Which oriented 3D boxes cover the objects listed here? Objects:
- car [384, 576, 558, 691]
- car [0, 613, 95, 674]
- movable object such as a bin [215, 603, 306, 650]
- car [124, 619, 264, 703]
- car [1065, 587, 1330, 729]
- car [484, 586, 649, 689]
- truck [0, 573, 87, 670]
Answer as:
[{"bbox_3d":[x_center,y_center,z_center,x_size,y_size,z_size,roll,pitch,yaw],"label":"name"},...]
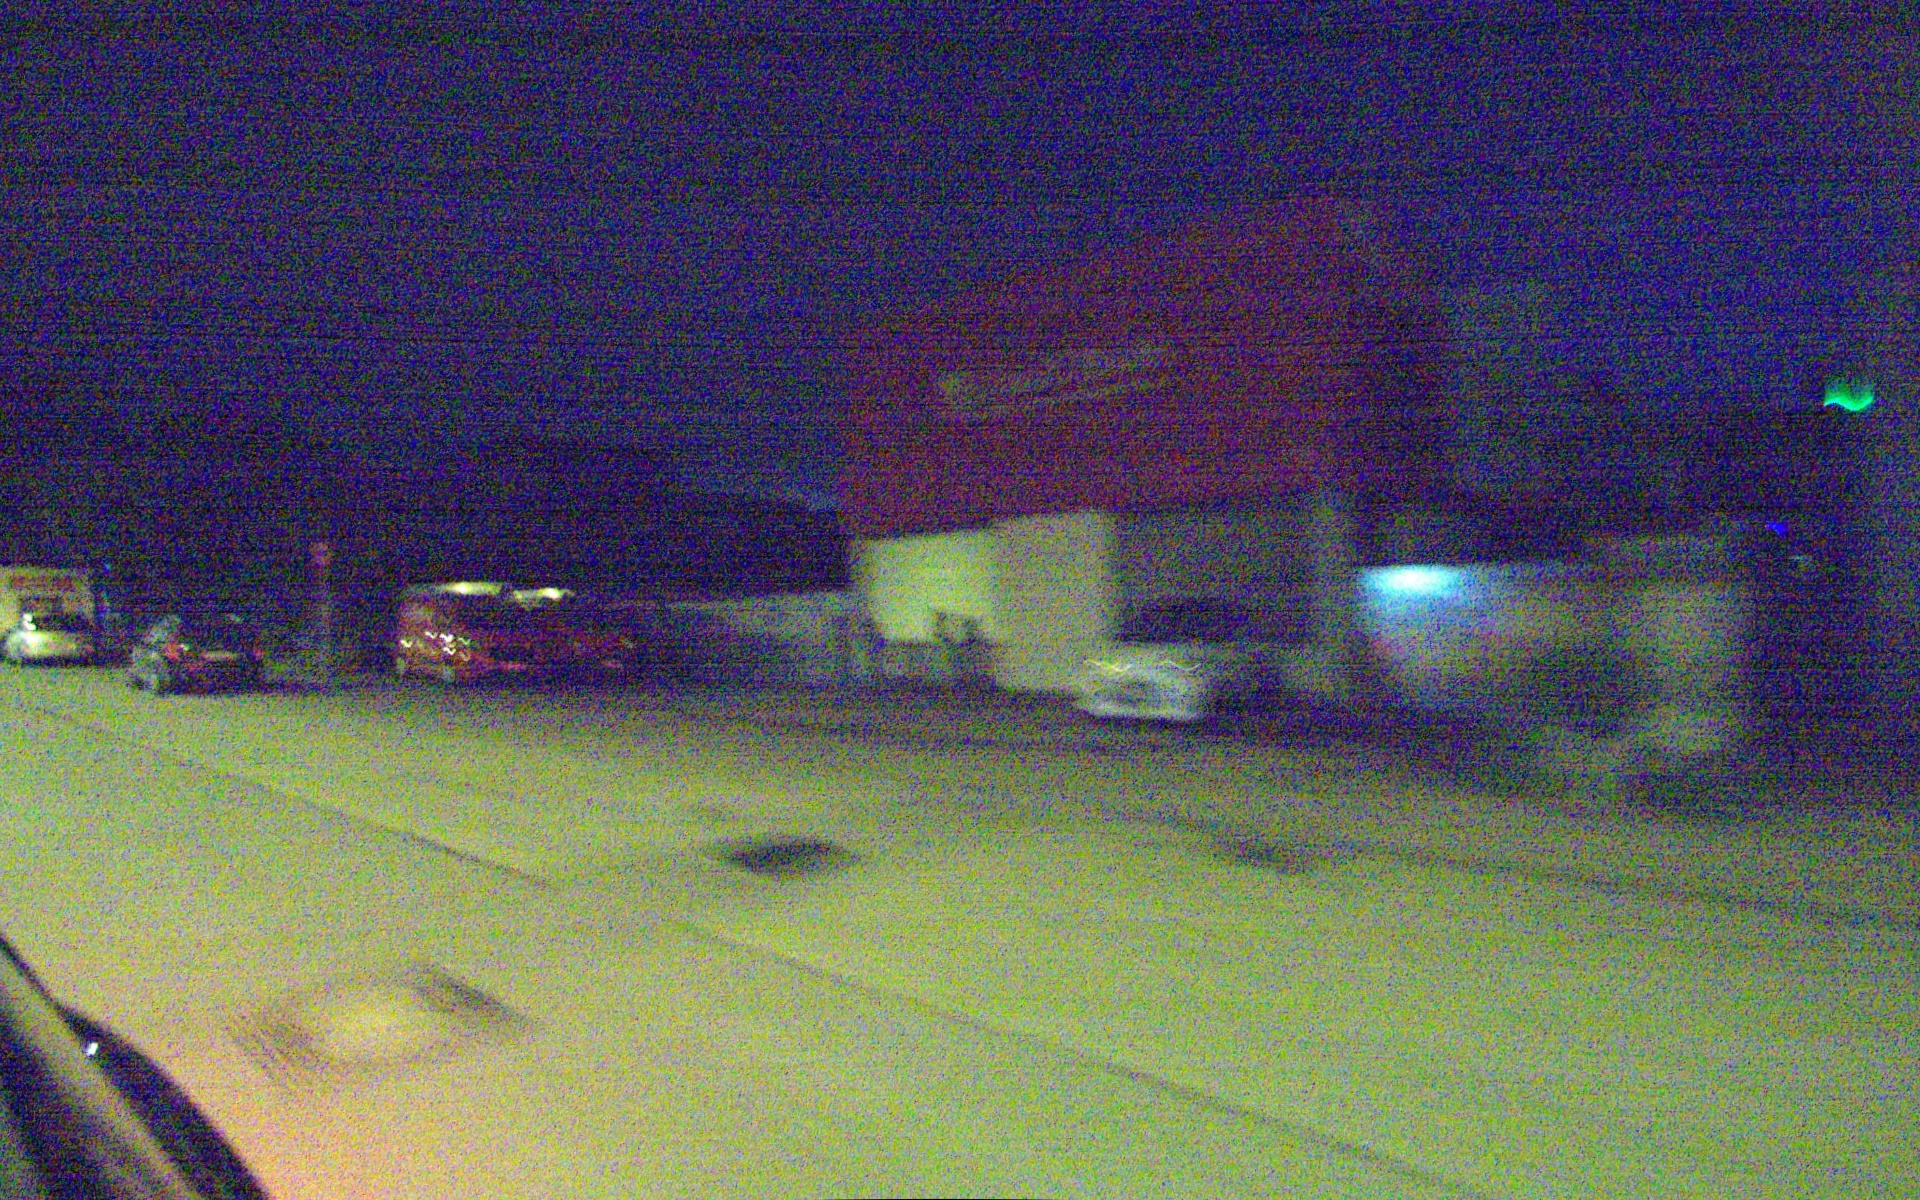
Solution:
[{"bbox_3d":[-11.192,0.766,22.985,4.969,2.339,1.971,-2,-3,45],"label":"car"},{"bbox_3d":[-29.871,1.371,32.932,4.834,1.830,1.811,-1,-2,40],"label":"car"},{"bbox_3d":[-23.226,0.867,33.611,2.308,1.506,1.417,1,-2,-43],"label":"movable object such as a bin"},{"bbox_3d":[-15.843,1.177,20.842,1.735,1.538,4.325,1,-1,-45],"label":"car"},{"bbox_3d":[3.251,0.707,13.382,1.816,1.583,3.946,-1,-2,40],"label":"car"},{"bbox_3d":[-9.912,0.901,25.321,4.626,2.339,2.182,-2,-2,45],"label":"car"},{"bbox_3d":[-34.873,0.812,37.606,7.305,3.305,2.518,-1,-1,40],"label":"truck"}]
